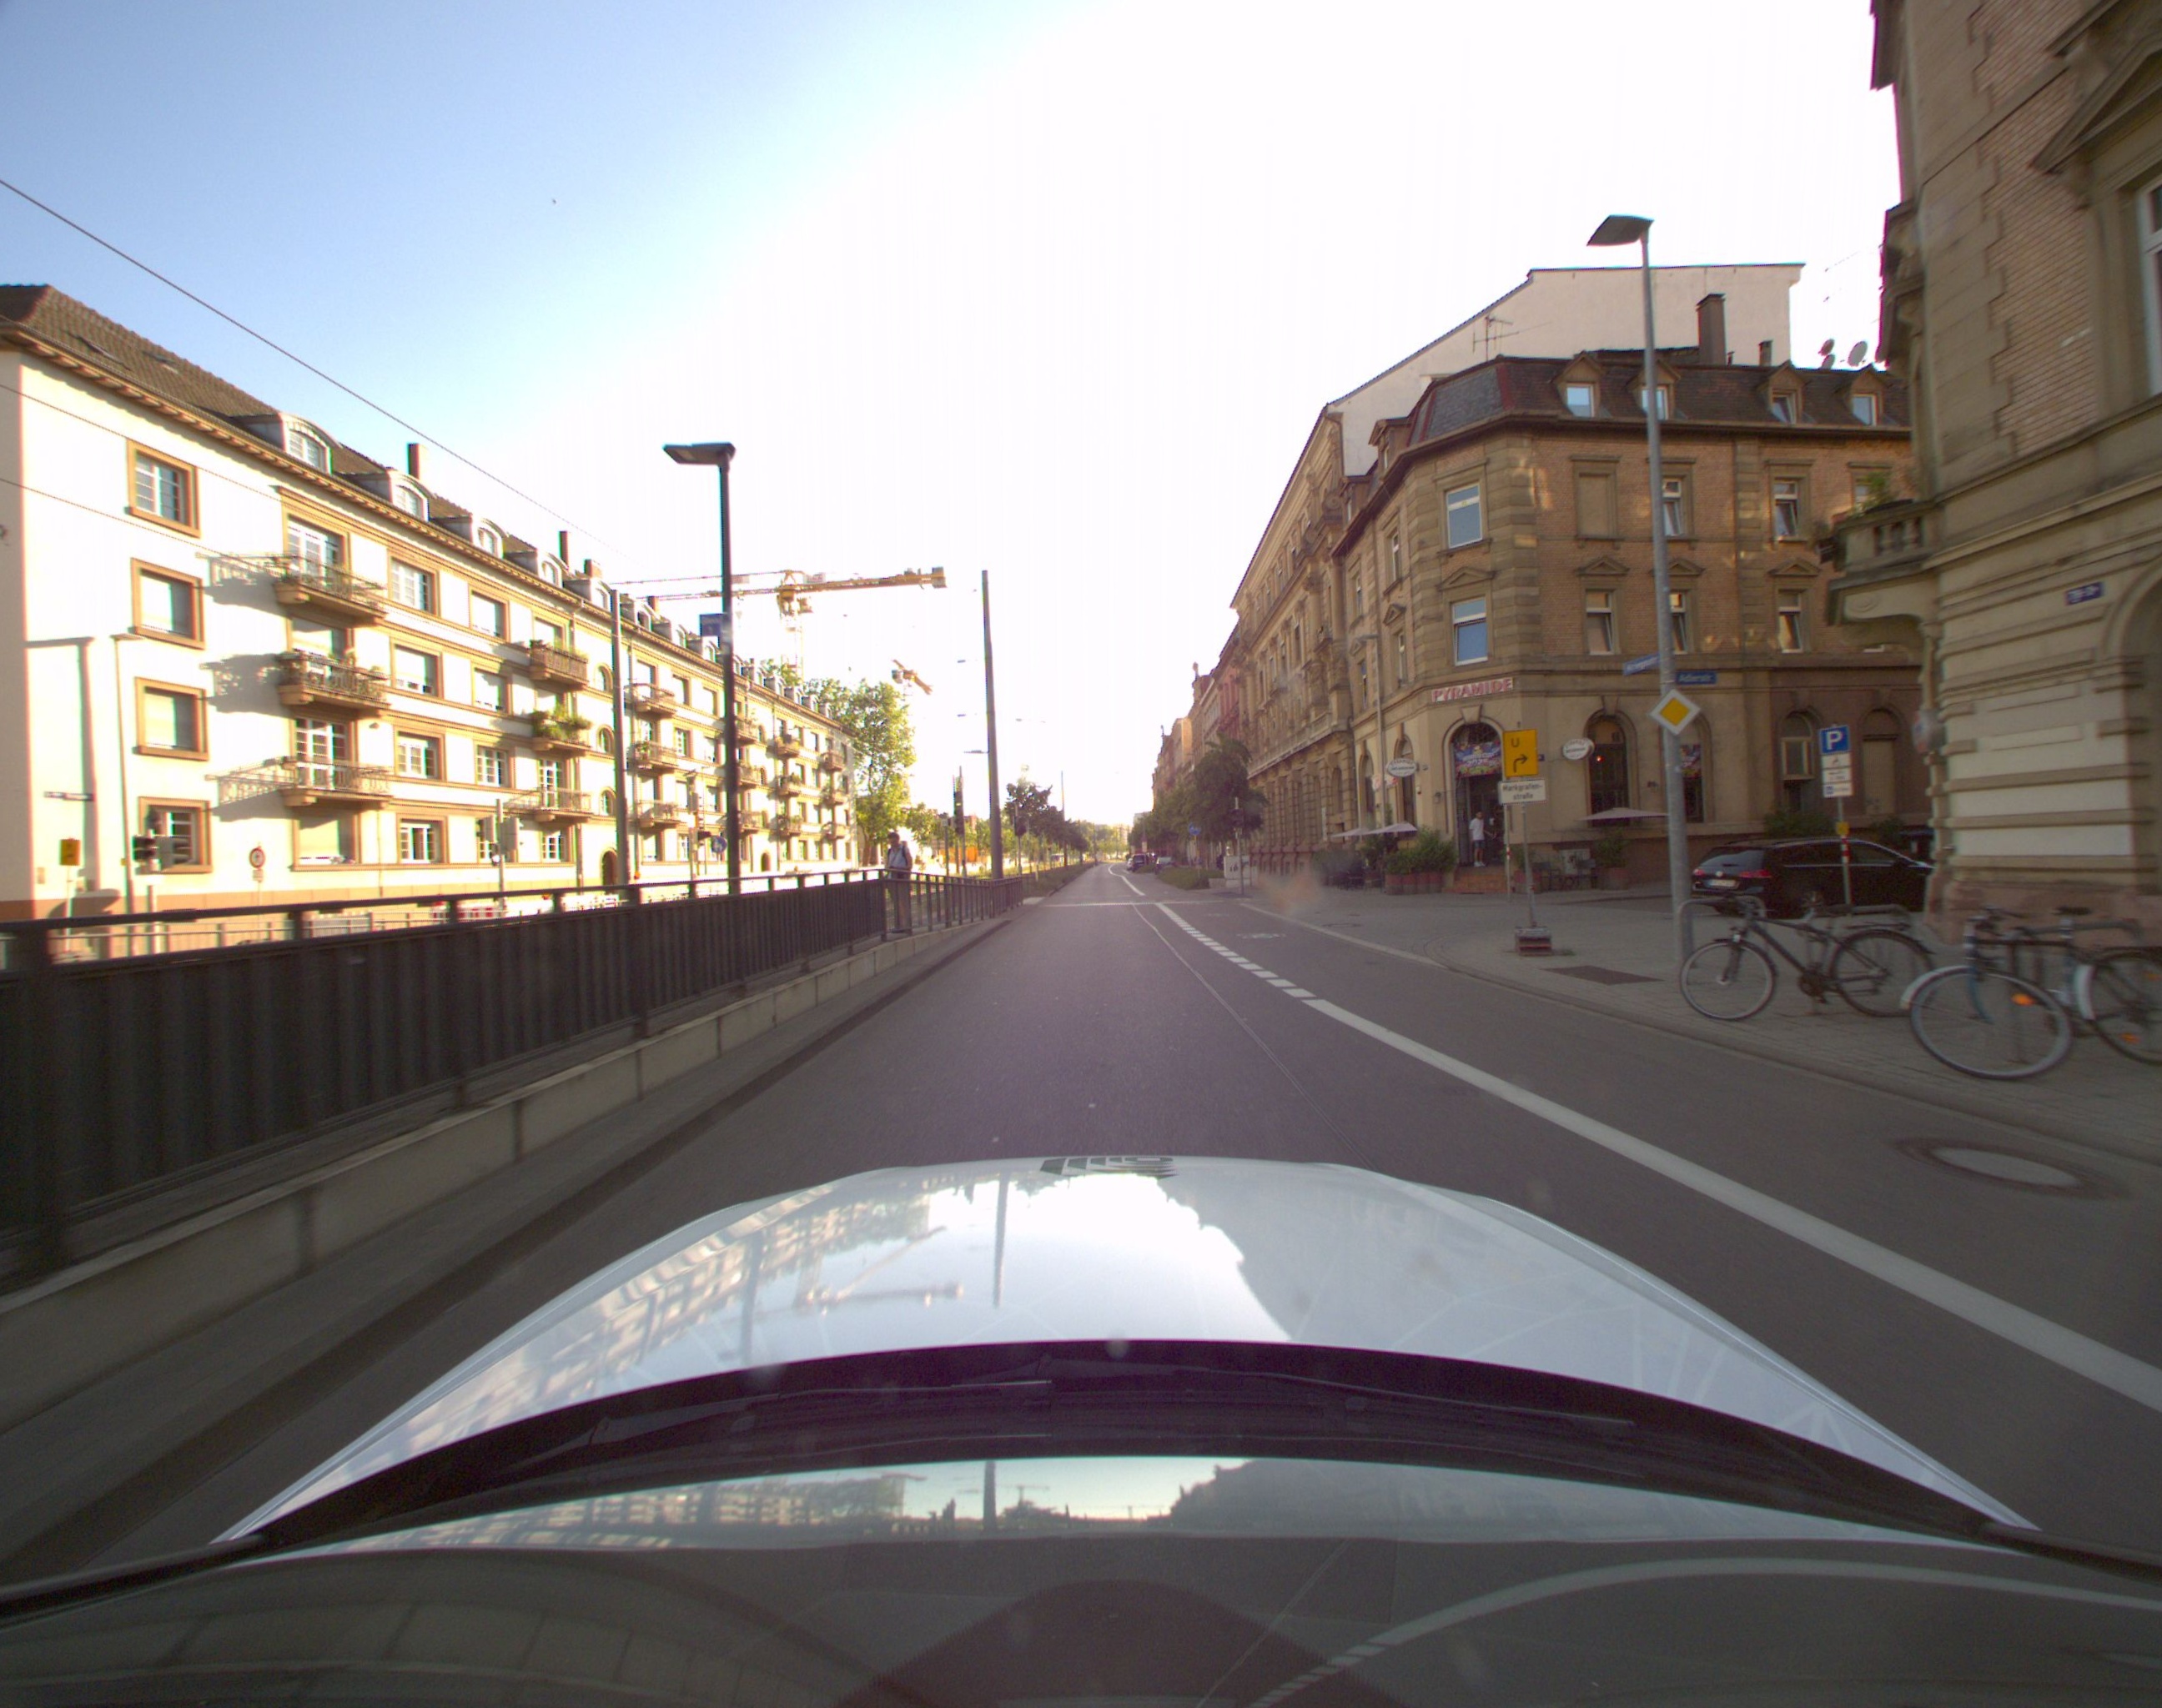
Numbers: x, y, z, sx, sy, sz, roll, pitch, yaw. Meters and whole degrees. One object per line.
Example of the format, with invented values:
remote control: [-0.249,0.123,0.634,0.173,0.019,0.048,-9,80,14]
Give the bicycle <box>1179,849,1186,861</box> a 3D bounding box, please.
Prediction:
bicycle: [13.317,0.133,106.974,0.658,1.402,2.353,-3,1,1]

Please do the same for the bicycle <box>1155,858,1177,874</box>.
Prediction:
bicycle: [6.548,0.925,62.891,1.574,1.048,0.488,-5,0,-7]

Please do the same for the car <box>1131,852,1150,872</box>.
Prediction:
car: [6.483,0.848,89.185,1.877,1.937,4.477,-3,1,3]

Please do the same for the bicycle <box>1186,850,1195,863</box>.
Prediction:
bicycle: [12.834,0.298,95.599,0.658,1.402,2.353,-3,1,1]

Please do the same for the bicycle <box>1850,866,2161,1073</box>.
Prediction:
bicycle: [6.228,0.703,5.307,1.822,1.064,0.663,-6,1,-4]

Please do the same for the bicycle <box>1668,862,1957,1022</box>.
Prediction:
bicycle: [6.048,0.694,6.784,1.822,1.064,0.663,-6,1,-4]

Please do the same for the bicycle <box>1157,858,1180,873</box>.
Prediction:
bicycle: [6.902,0.891,64.176,1.689,1.048,0.488,-5,0,-7]

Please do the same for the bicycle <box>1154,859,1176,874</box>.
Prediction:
bicycle: [6.921,1.001,67.125,1.685,1.048,0.490,-6,0,1]

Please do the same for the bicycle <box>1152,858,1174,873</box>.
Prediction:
bicycle: [6.668,0.927,66.019,1.685,1.048,0.490,-5,0,1]

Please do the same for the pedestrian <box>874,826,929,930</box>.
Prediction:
pedestrian: [-2.962,0.391,13.530,0.652,1.643,0.867,-2,-1,1]

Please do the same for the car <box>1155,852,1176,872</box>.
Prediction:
car: [7.495,0.689,72.693,1.630,1.486,4.216,-5,1,4]

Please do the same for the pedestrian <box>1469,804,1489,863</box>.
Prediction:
pedestrian: [12.066,-0.620,24.692,0.442,1.740,0.546,-3,-1,29]

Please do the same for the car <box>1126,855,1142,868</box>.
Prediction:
car: [6.647,0.901,102.796,1.842,1.457,4.160,-3,1,3]

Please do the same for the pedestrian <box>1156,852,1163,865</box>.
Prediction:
pedestrian: [8.976,0.543,92.994,0.623,1.460,0.638,-3,0,1]

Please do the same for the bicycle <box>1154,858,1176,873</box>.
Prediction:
bicycle: [6.683,0.895,64.717,1.574,1.048,0.488,-5,0,-7]

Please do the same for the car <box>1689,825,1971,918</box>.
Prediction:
car: [13.753,0.309,15.030,4.142,1.388,1.612,-3,-1,-10]

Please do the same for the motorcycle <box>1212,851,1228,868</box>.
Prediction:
motorcycle: [11.558,0.441,67.642,0.792,1.308,2.853,-5,1,1]
